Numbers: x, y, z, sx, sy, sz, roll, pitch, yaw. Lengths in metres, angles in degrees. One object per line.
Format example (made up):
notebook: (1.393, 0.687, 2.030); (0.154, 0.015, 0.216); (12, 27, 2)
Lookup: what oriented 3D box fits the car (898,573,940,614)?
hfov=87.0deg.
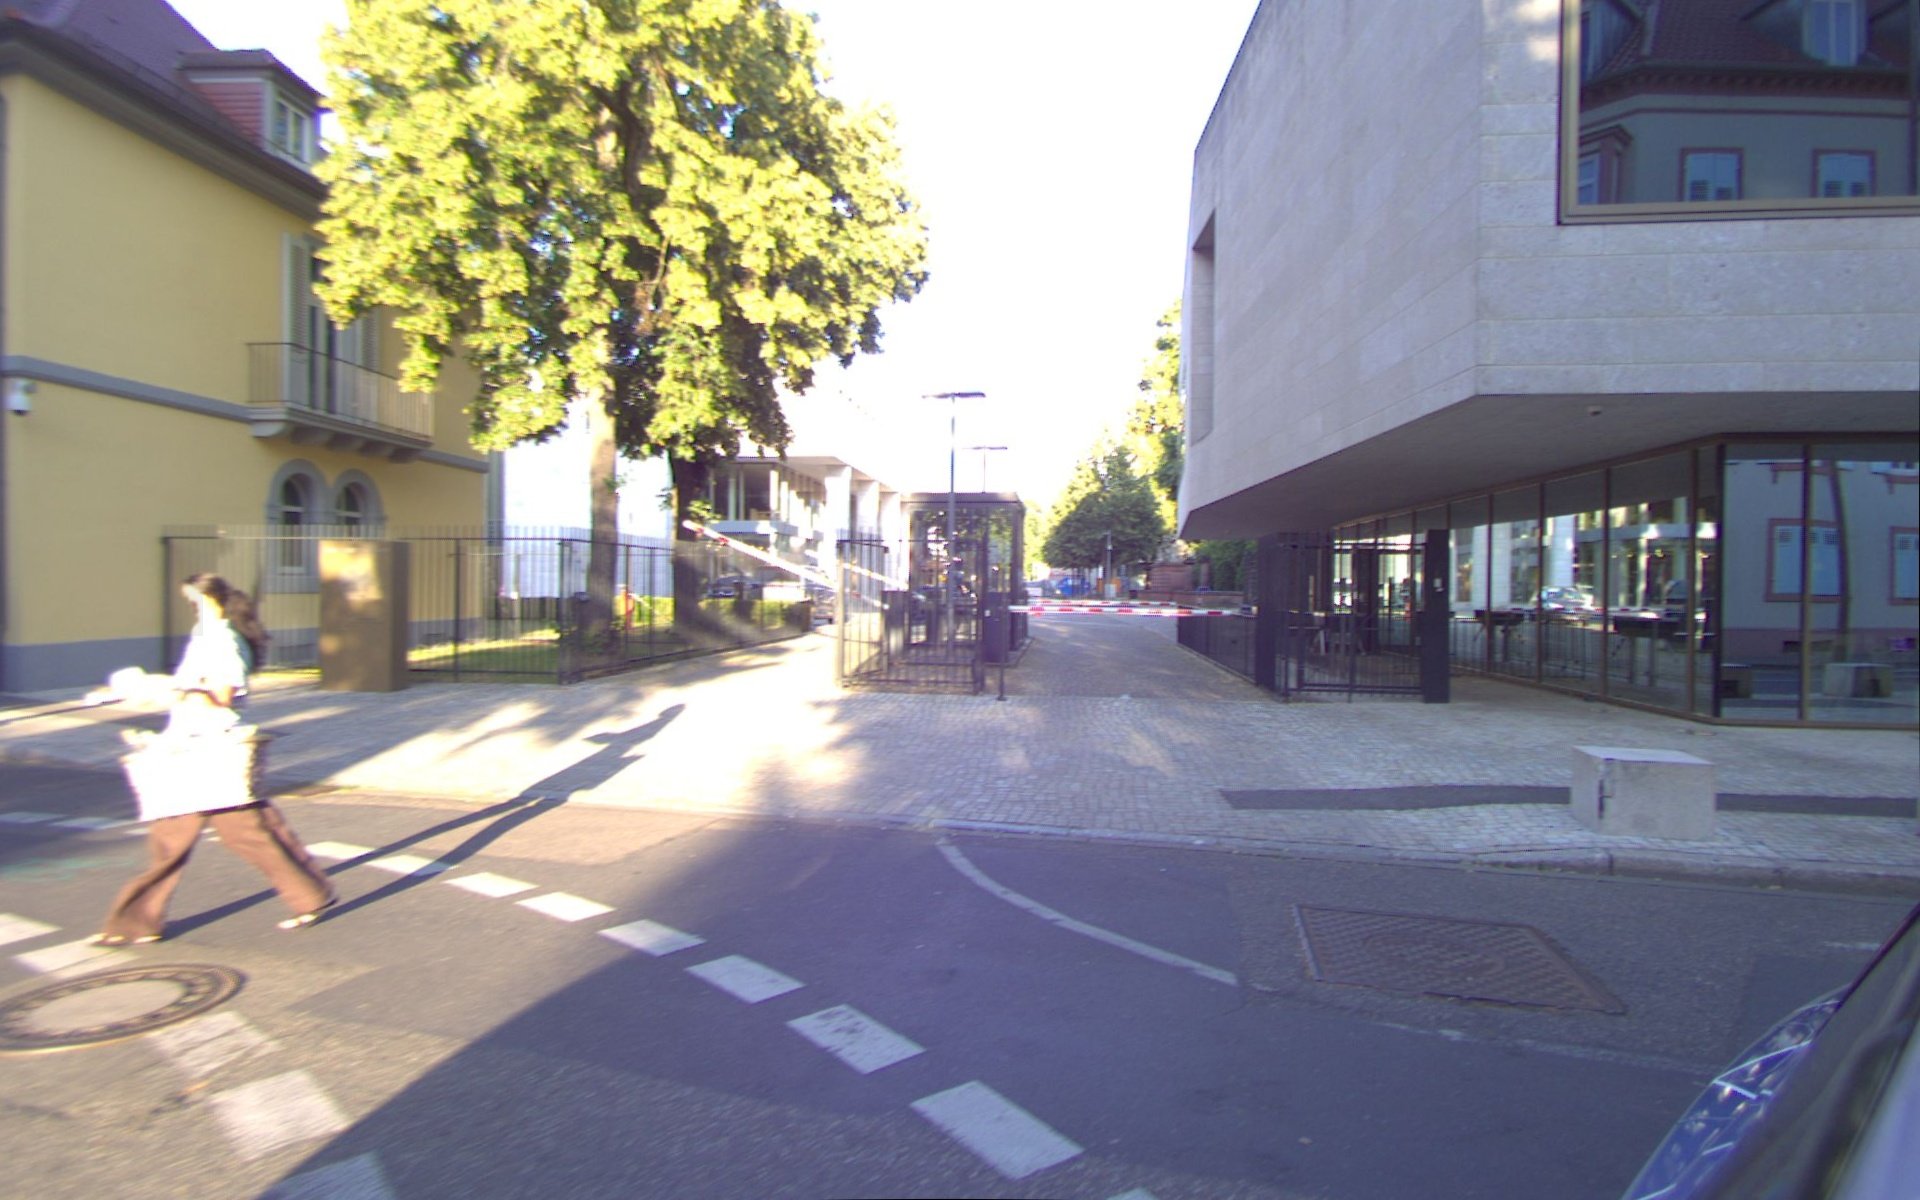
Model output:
car: (-1.756, -0.300, 42.454); (1.677, 1.604, 3.683); (0, 2, -4)

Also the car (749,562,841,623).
car: (-5.206, -0.274, 32.477); (1.682, 1.758, 4.054); (2, 2, 9)

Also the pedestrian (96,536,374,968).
pedestrian: (-3.184, 0.582, 4.480); (0.942, 1.679, 0.639); (0, 1, -38)
